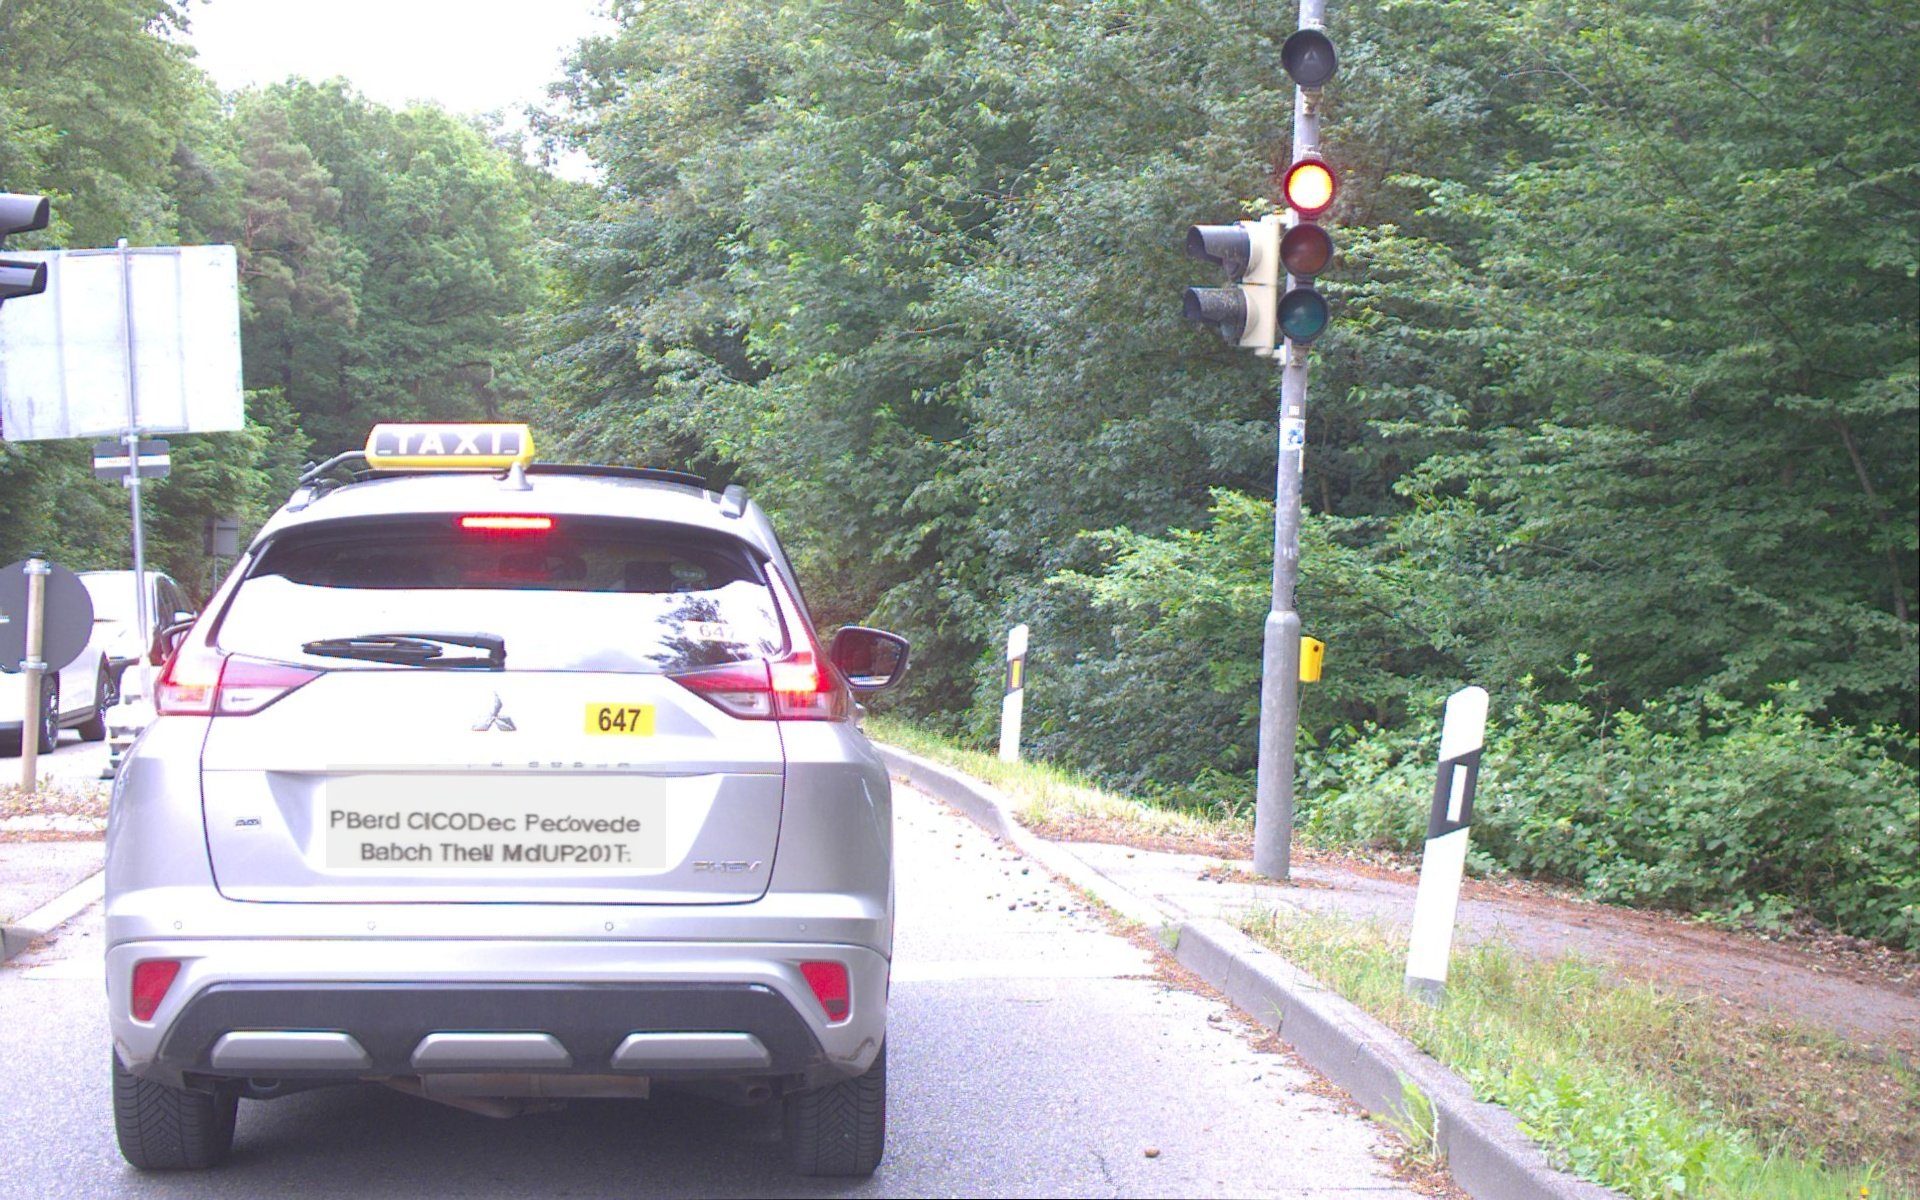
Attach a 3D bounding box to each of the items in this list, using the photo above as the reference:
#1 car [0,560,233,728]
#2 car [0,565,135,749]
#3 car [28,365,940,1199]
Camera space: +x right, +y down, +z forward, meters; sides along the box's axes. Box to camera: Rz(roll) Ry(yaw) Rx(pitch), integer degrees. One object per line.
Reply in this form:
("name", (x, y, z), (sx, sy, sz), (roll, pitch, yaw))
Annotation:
("car", (-8.318, 0.394, 33.517), (1.811, 1.503, 3.722), (-2, 0, -3))
("car", (-7.804, 0.428, 27.584), (1.612, 1.317, 3.722), (-2, 2, -3))
("car", (-1.185, 0.393, 9.161), (1.846, 1.774, 4.001), (1, 1, -6))
